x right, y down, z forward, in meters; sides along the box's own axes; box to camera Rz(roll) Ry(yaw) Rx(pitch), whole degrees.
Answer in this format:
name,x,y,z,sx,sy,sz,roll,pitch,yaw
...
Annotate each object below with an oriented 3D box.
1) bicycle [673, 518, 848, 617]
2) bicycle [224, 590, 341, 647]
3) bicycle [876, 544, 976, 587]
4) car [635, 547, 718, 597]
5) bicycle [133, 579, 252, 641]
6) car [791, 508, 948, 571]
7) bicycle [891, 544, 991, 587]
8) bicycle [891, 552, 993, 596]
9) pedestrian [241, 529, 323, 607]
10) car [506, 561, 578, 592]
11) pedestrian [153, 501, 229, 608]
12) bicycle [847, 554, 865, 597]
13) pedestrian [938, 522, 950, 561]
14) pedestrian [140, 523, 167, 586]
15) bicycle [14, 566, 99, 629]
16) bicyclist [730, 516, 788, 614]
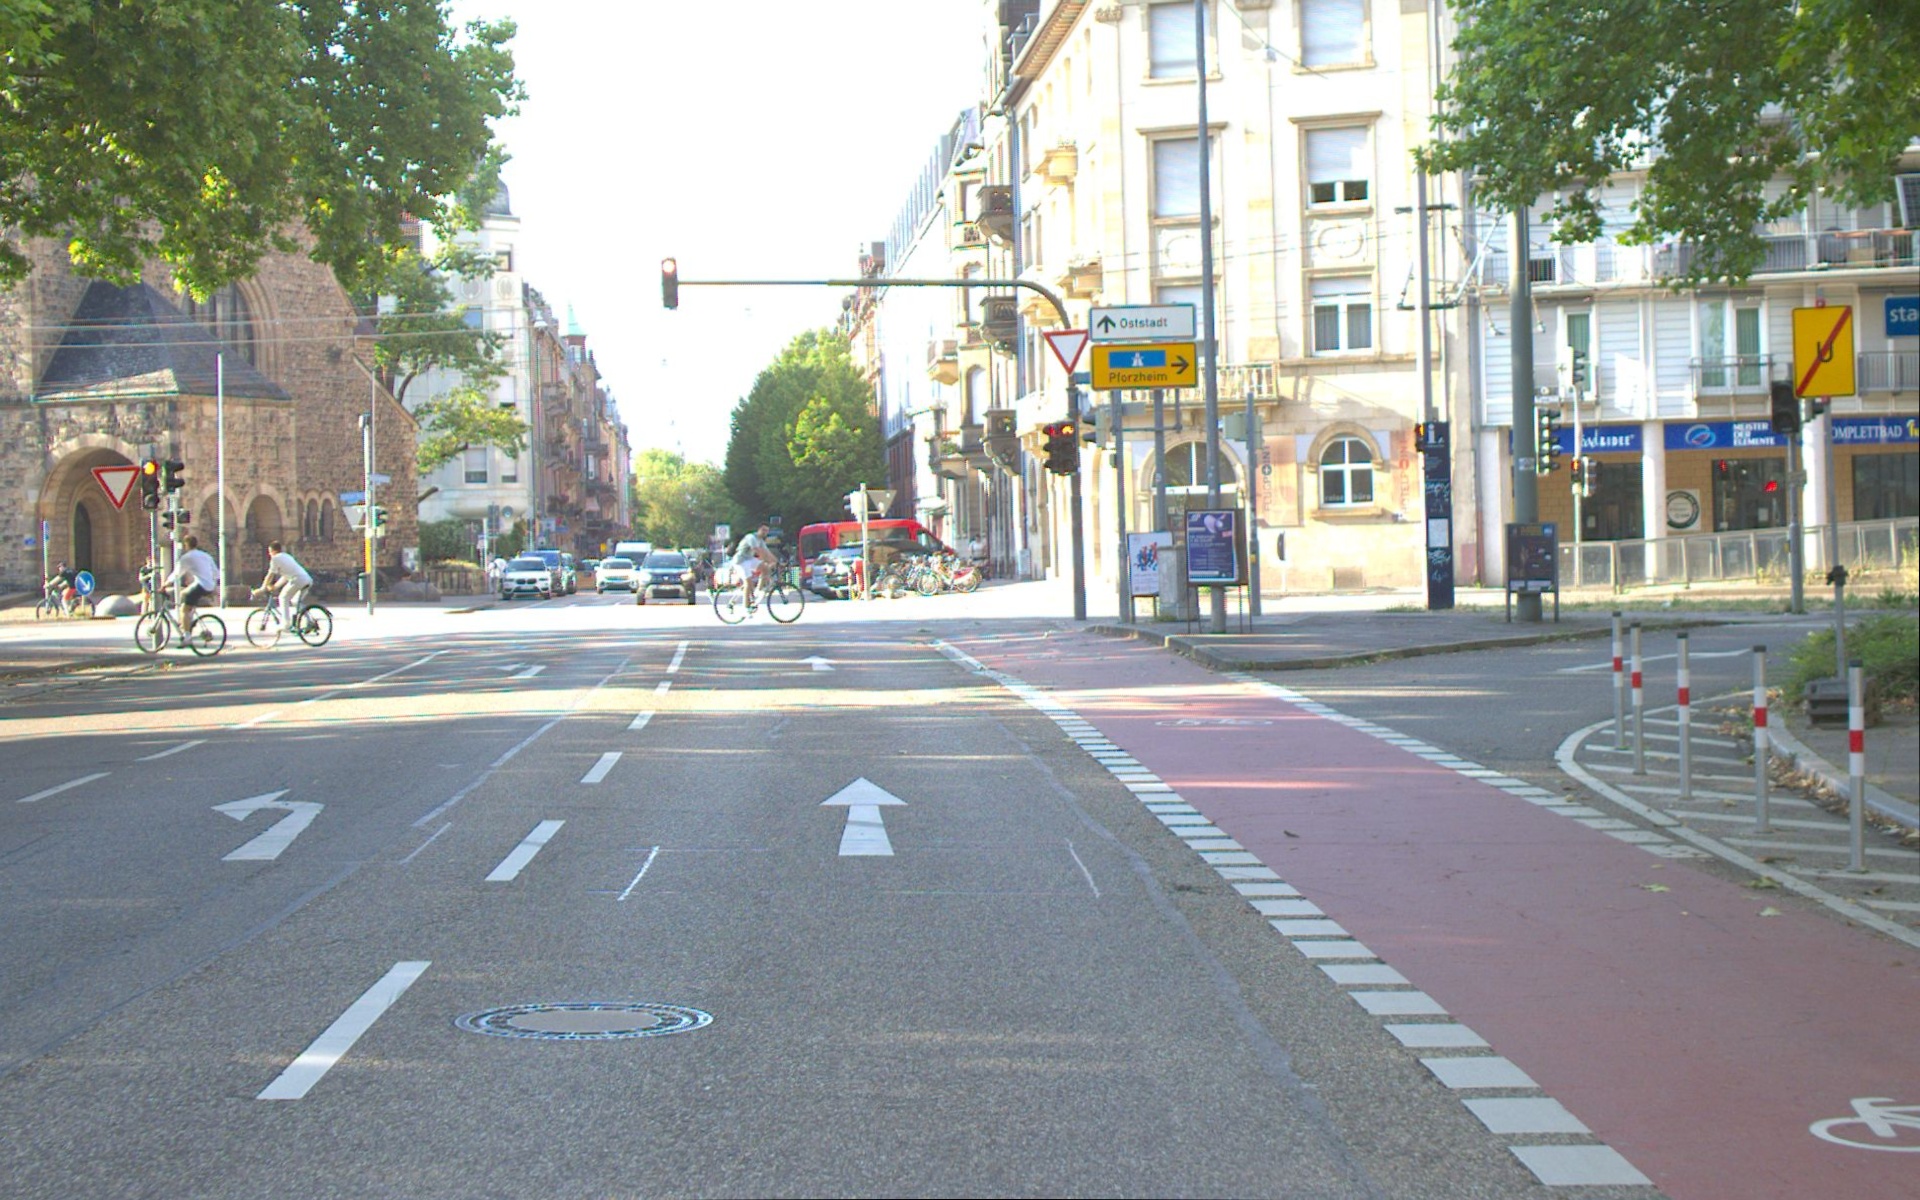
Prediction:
name,x,y,z,sx,sy,sz,roll,pitch,yaw
bicycle,-3.385,-0.547,58.302,2.842,1.650,0.830,0,0,9
bicycle,-11.215,0.306,56.897,1.784,0.892,0.749,-1,1,26
bicycle,-0.962,-0.978,97.423,2.802,1.199,0.517,0,0,-6
car,-8.631,-0.846,105.010,1.587,1.457,3.181,0,0,14
bicycle,-12.298,0.156,55.089,1.785,0.978,0.656,0,0,20
car,-3.040,-2.029,116.308,4.988,2.007,2.166,1,0,-39
bicycle,-0.554,-0.985,98.213,2.802,1.199,0.510,0,0,-6
bicycle,-0.501,-0.713,95.962,2.802,1.199,0.510,0,0,-6
pedestrian,-11.220,-0.529,56.914,1.050,1.273,0.791,0,0,27
car,-15.934,-0.877,131.217,1.595,1.140,3.381,0,0,15
pedestrian,-12.326,-0.729,55.099,0.992,1.702,0.627,0,0,21
bicycle,-2.997,-0.704,99.409,0.508,1.199,2.092,0,0,-1
pedestrian,-0.536,-1.986,116.787,0.394,1.285,0.431,0,0,1
pedestrian,-23.088,-1.308,98.450,0.610,1.784,0.711,0,0,-2
bicycle,-25.709,-0.075,97.933,1.286,1.744,4.000,0,0,1
bicyclist,-3.407,-0.590,58.327,0.802,1.651,0.934,0,0,8
